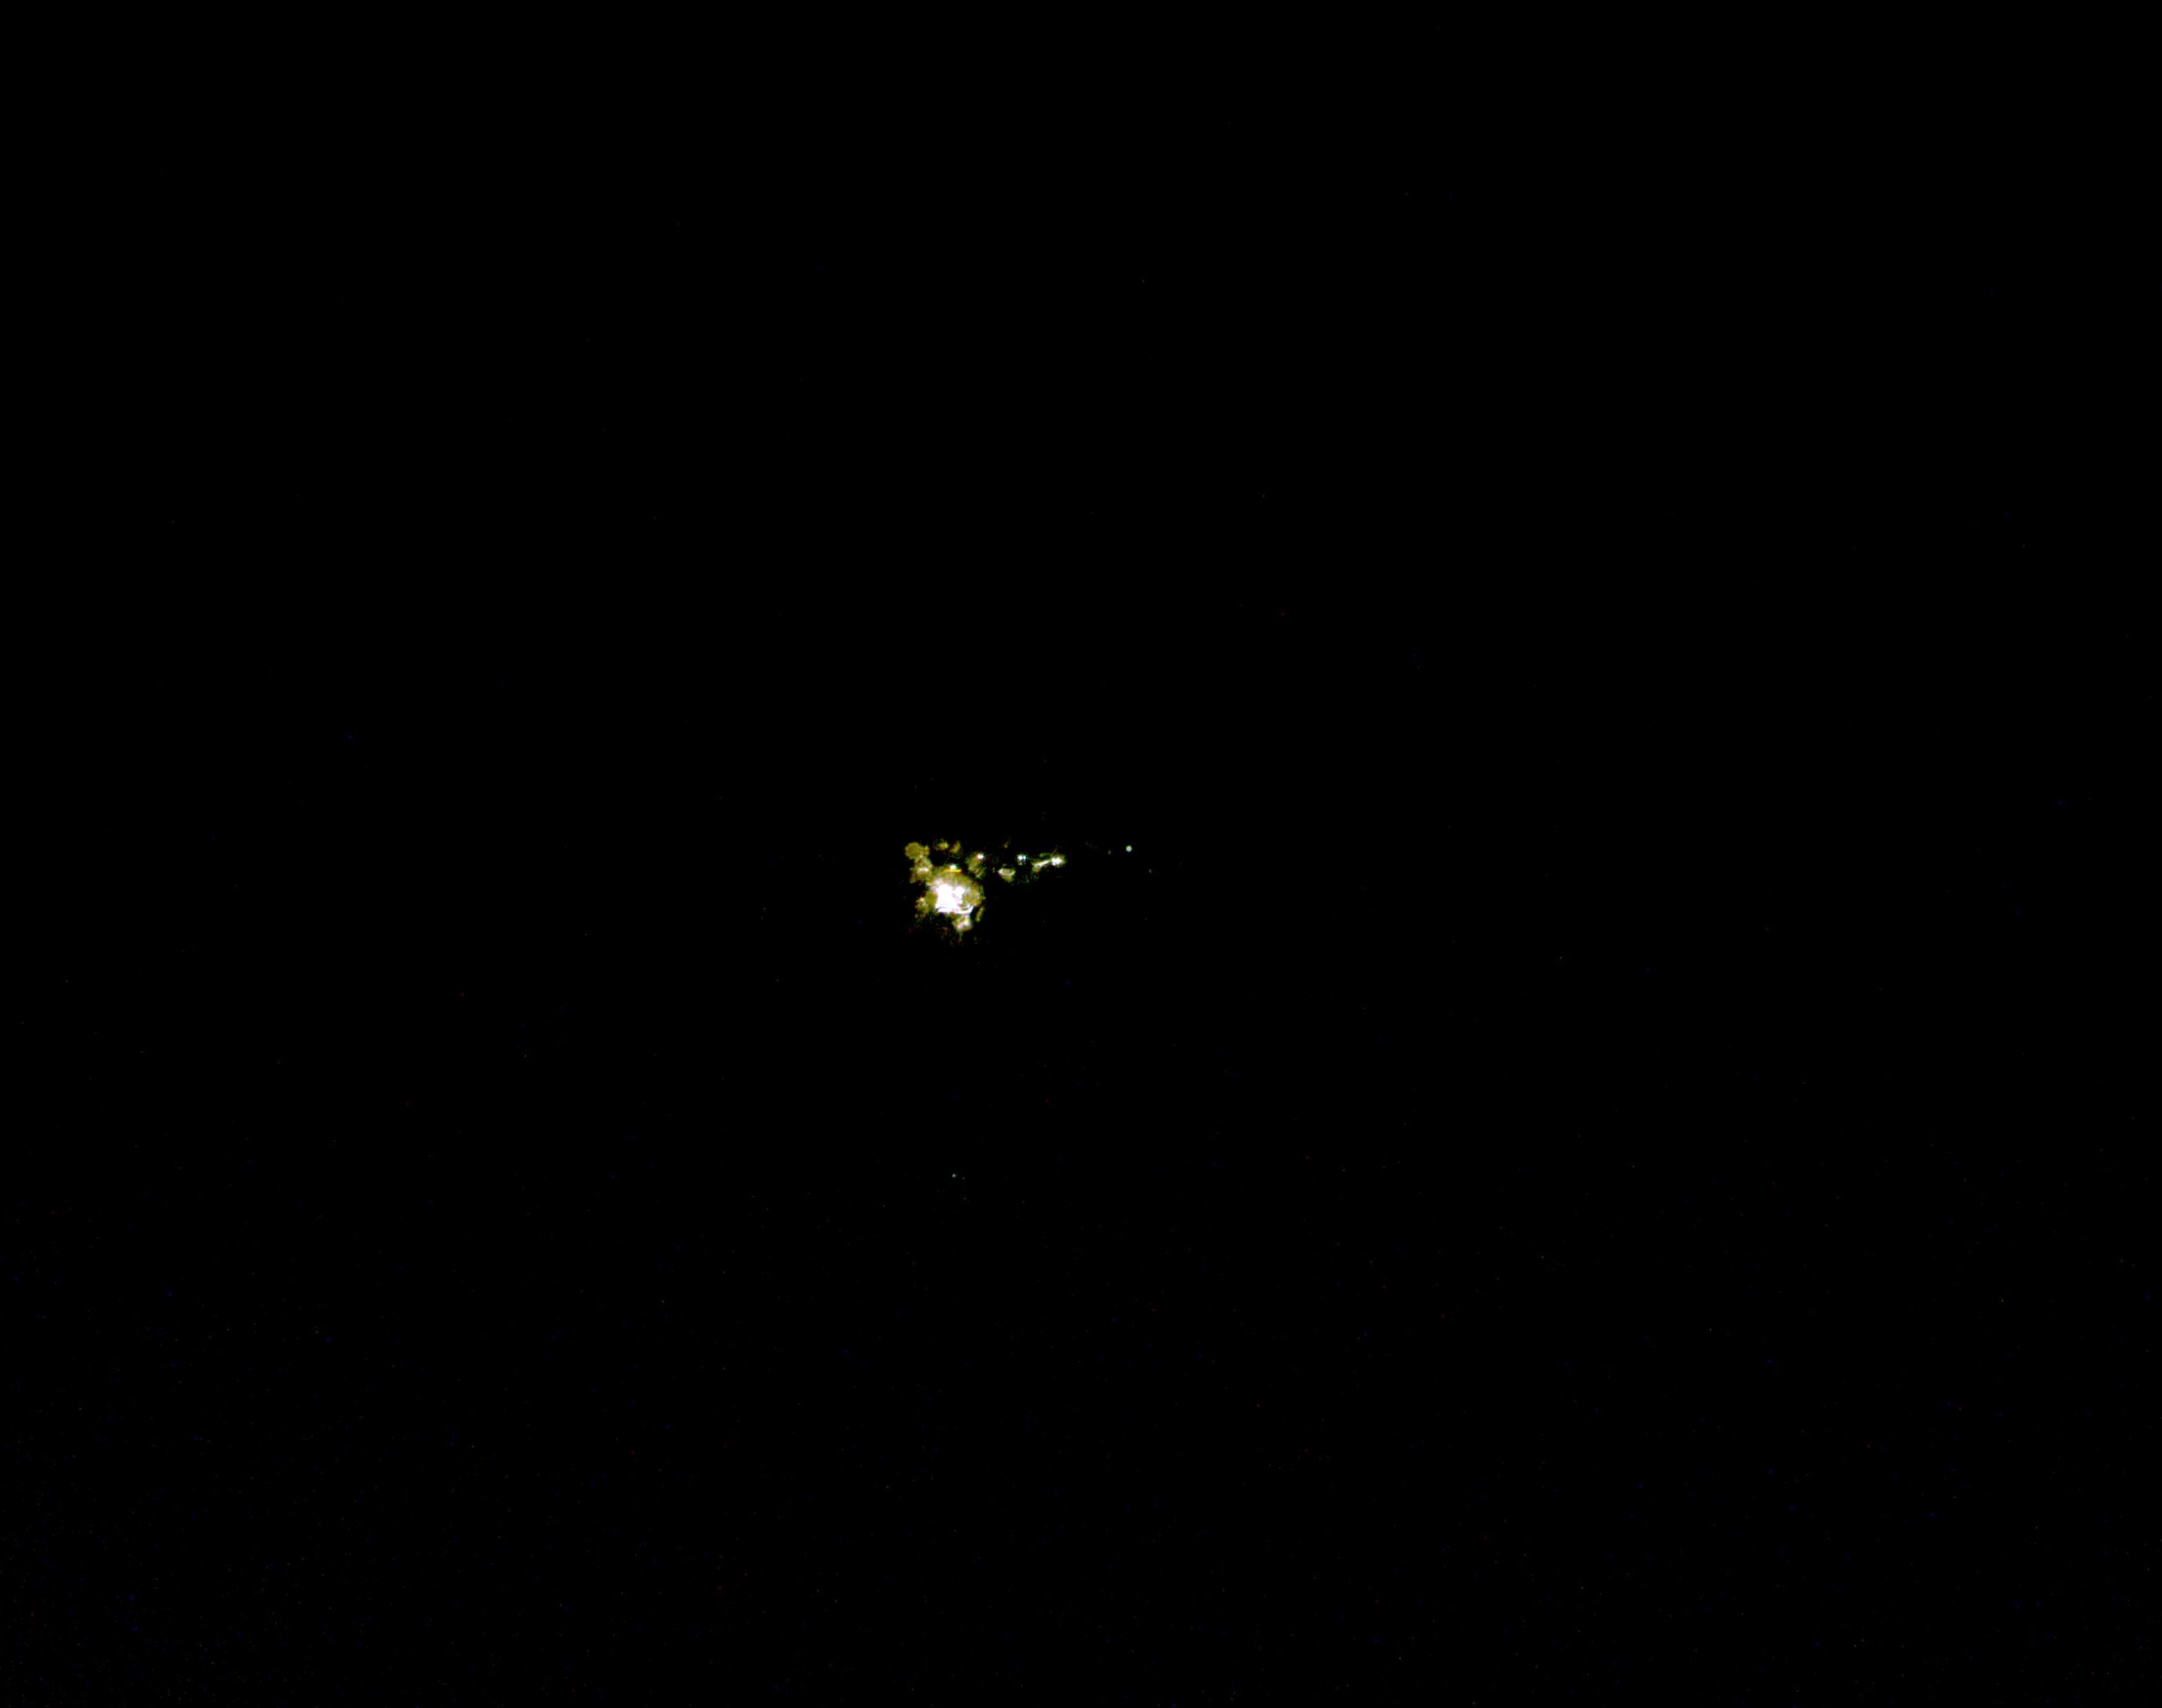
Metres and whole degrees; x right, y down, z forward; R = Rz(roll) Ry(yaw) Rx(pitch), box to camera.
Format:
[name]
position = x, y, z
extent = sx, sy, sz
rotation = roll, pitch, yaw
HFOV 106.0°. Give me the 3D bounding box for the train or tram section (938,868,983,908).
[train or tram section]
position = -11.179, 3.074, 76.395
extent = 2.834, 3.460, 8.552
rotation = -1, 0, 0
